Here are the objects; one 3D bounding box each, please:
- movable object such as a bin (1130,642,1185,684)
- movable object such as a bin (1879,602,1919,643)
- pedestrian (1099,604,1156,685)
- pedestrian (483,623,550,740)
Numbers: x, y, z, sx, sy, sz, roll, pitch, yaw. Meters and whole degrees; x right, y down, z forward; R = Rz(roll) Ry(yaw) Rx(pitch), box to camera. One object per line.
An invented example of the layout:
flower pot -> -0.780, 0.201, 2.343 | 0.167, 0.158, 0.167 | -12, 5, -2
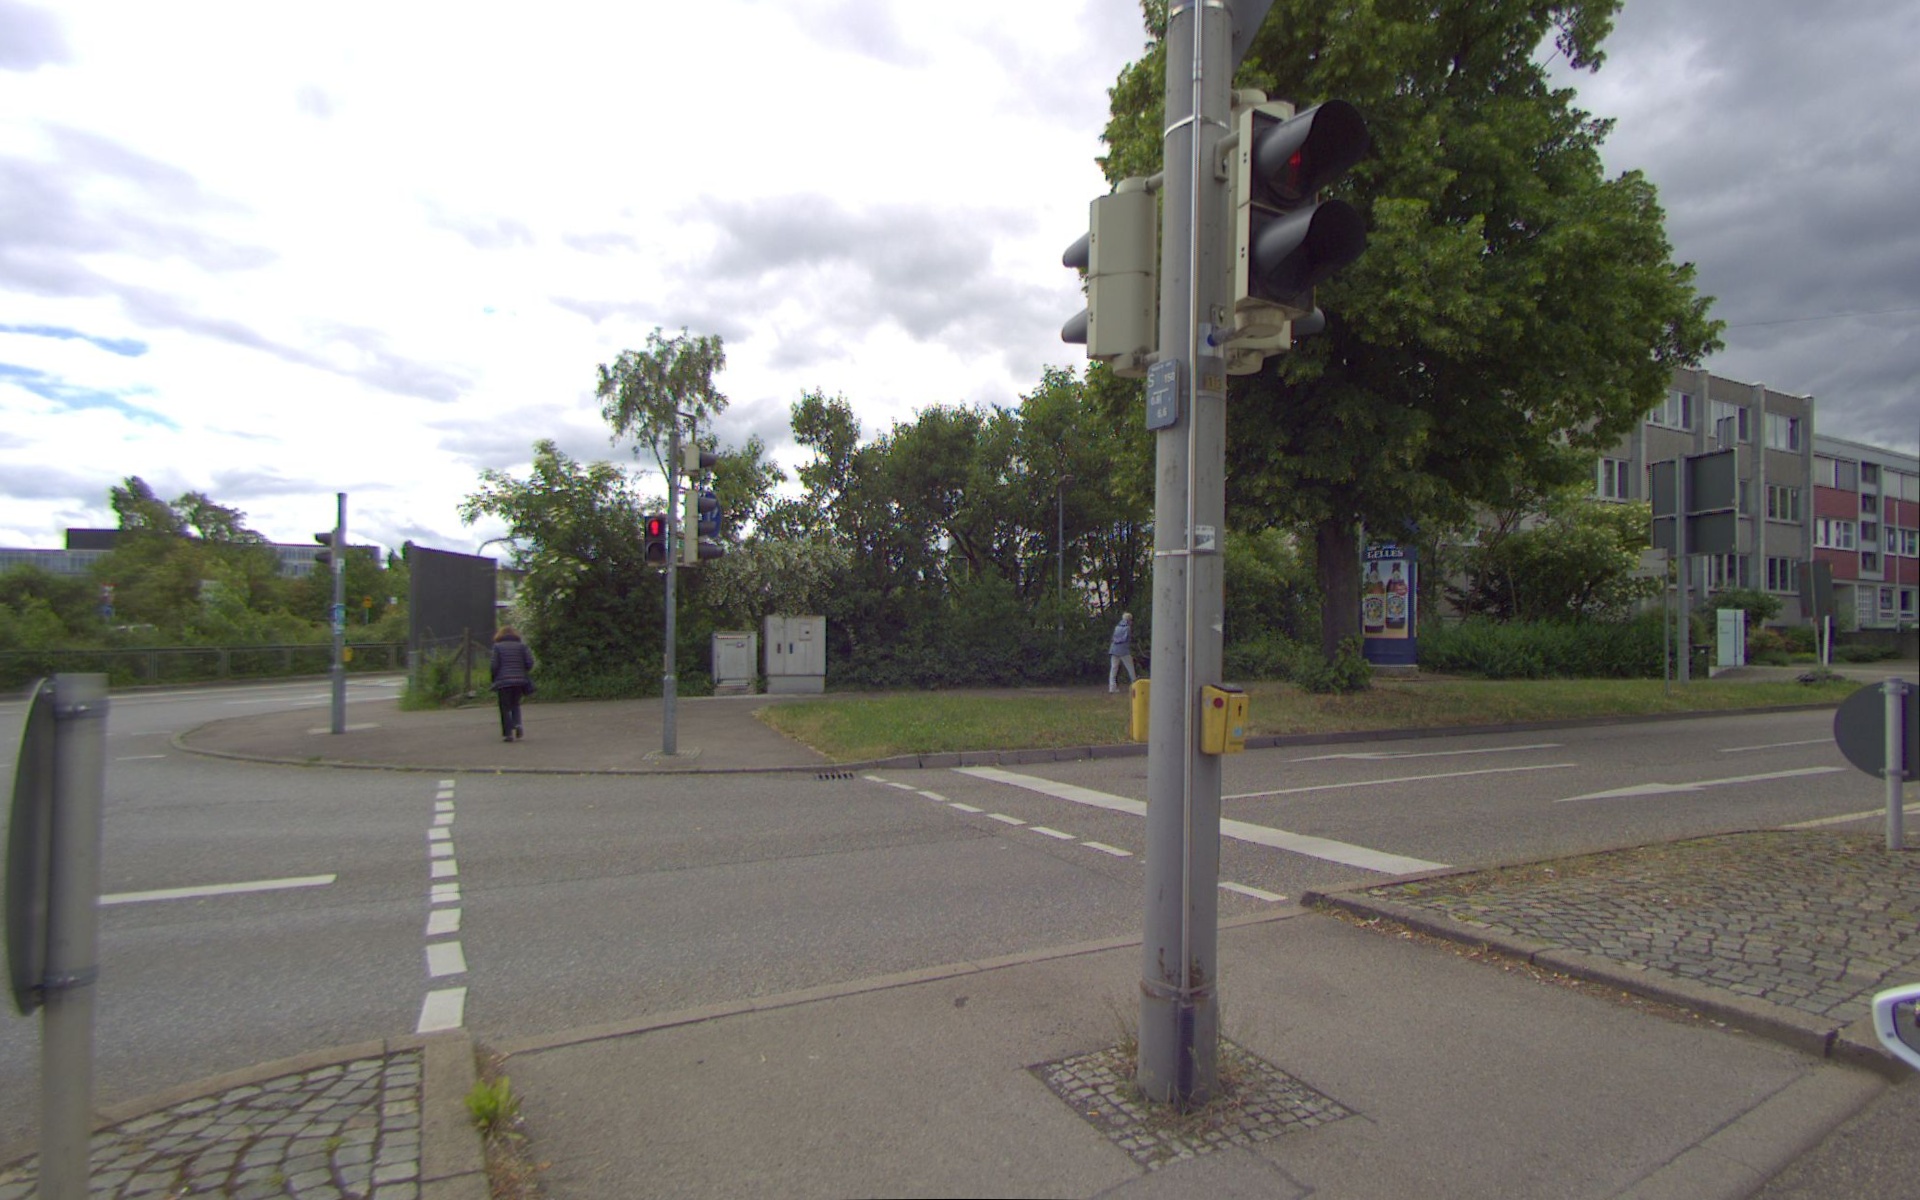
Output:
movable object such as a bin -> 3.973, 1.254, 20.169 | 0.887, 0.808, 0.652 | 1, -1, -32
movable object such as a bin -> 47.525, 1.116, 50.212 | 1.524, 2.040, 1.984 | 1, -1, -30
pedestrian -> 3.287, 0.861, 19.733 | 0.913, 1.542, 0.652 | 1, -1, -32
pedestrian -> -5.740, 1.024, 12.998 | 0.596, 1.426, 0.766 | -1, 2, -42
